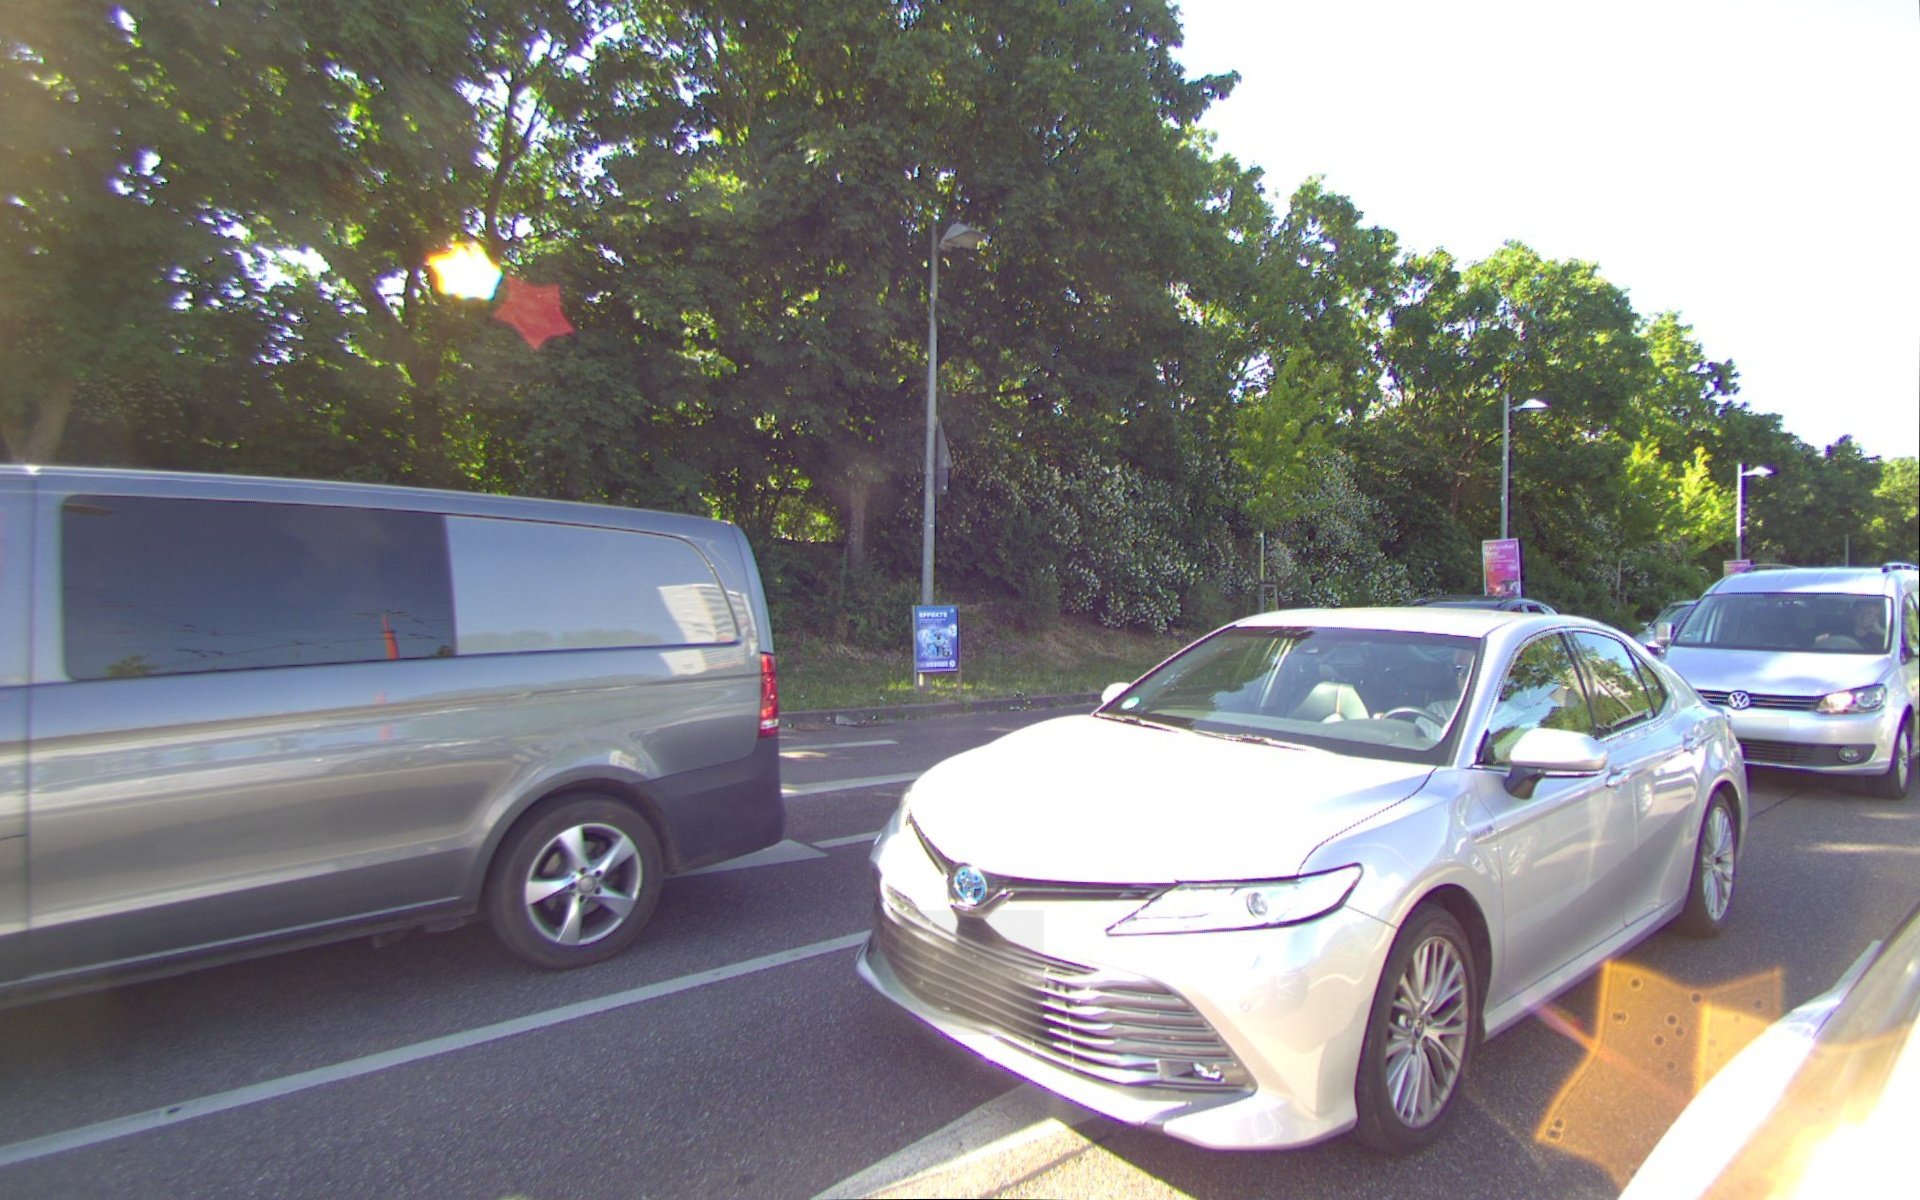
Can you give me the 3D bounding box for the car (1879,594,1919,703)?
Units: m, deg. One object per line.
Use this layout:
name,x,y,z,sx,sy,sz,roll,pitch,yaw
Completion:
car,14.808,0.673,14.752,4.126,1.472,1.715,0,1,-43

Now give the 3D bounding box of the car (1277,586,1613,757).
car,5.420,0.618,11.080,4.151,1.527,1.771,-1,0,-40

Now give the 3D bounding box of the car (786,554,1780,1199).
car,1.736,0.659,4.253,4.599,1.512,1.808,0,0,-40

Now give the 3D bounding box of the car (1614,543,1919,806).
car,7.823,0.486,9.212,4.504,1.844,1.809,-1,1,-39

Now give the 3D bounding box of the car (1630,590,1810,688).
car,13.565,0.611,17.992,4.064,1.536,1.725,0,0,-40

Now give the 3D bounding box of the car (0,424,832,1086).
car,-3.097,0.413,3.708,5.011,1.875,1.809,0,2,-39

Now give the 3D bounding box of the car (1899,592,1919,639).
car,32.686,0.483,33.664,3.894,1.512,1.713,0,1,-40
